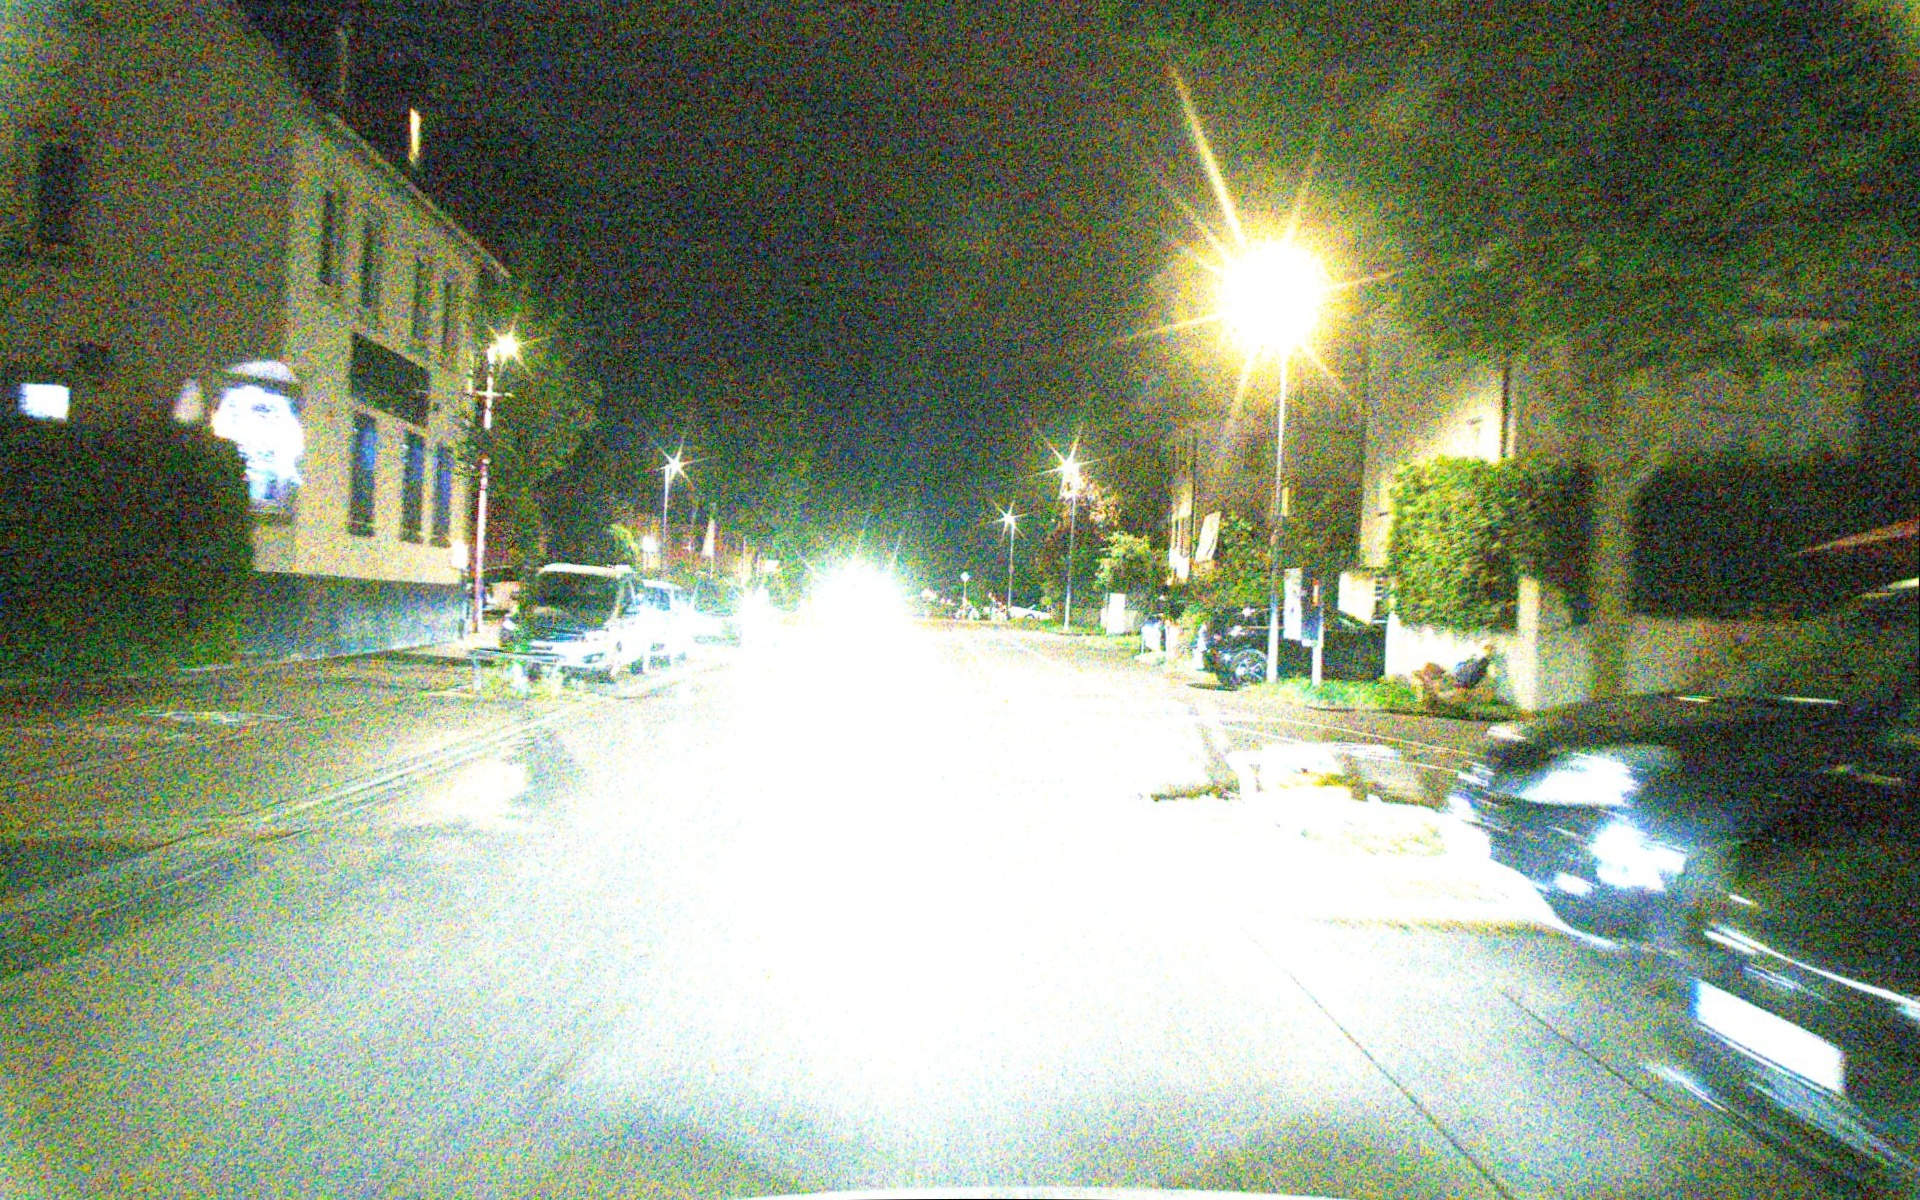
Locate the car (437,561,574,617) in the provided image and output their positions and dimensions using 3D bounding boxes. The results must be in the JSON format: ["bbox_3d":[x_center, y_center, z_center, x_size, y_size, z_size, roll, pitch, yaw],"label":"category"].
[{"bbox_3d":[-14.228,-0.342,51.955,3.913,1.732,1.944,0,0,-9],"label":"car"}]

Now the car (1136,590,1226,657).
[{"bbox_3d":[5.609,0.571,42.367,1.606,1.587,3.676,2,0,-3],"label":"car"}]

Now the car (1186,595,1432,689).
[{"bbox_3d":[5.970,0.700,28.571,3.825,1.512,1.832,1,0,-2],"label":"car"}]

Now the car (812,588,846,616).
[{"bbox_3d":[-7.961,0.134,100.926,1.638,1.618,3.987,4,0,0],"label":"car"}]

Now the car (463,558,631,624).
[{"bbox_3d":[-11.171,-0.240,44.914,4.032,1.691,2.000,1,0,-1],"label":"car"}]

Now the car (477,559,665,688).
[{"bbox_3d":[-5.791,0.308,25.170,1.890,1.665,4.468,4,0,-3],"label":"car"}]

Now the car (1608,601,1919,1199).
[{"bbox_3d":[3.965,0.842,4.254,3.840,1.540,1.853,2,0,-5],"label":"car"}]

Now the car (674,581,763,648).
[{"bbox_3d":[-5.918,0.328,40.886,1.714,1.494,4.007,3,0,-3],"label":"car"}]

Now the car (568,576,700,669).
[{"bbox_3d":[-5.948,0.371,30.561,1.735,1.494,3.964,4,0,-3],"label":"car"}]

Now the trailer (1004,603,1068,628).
[{"bbox_3d":[4.287,0.865,93.481,3.364,1.019,1.953,6,0,-2],"label":"trailer"}]

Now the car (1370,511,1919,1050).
[{"bbox_3d":[4.054,0.672,6.787,4.263,1.848,2.032,2,0,4],"label":"car"}]
